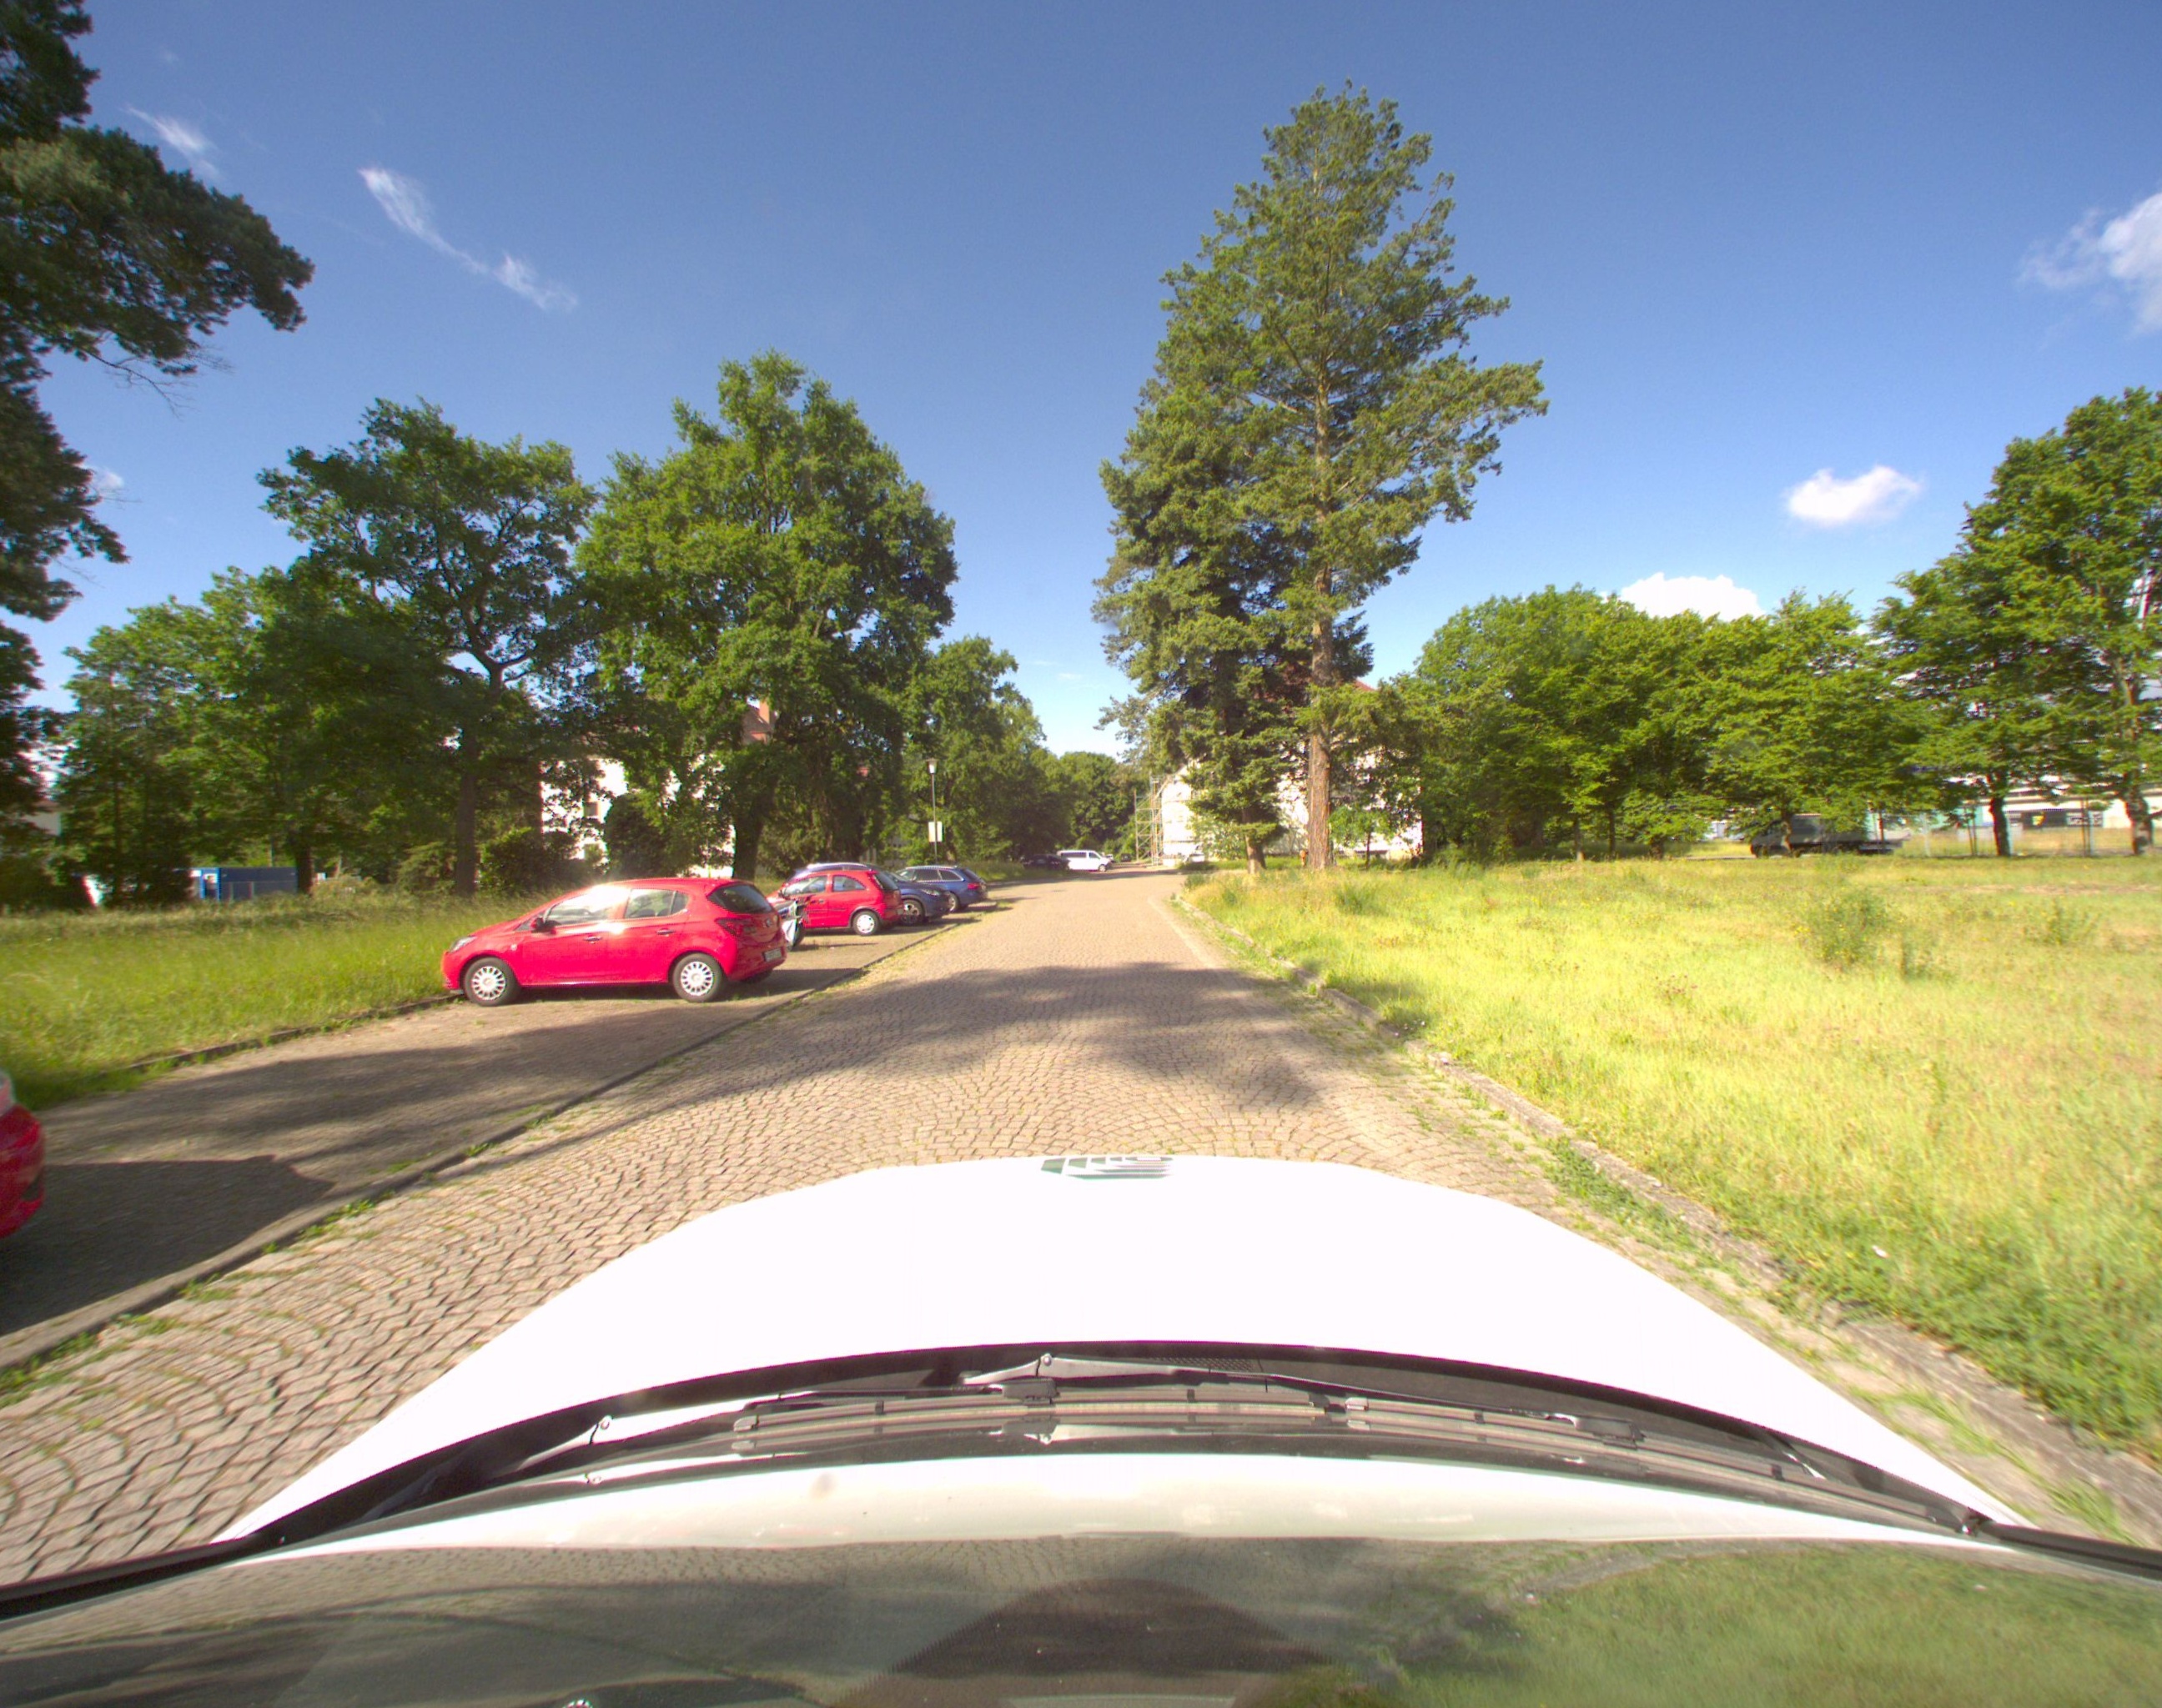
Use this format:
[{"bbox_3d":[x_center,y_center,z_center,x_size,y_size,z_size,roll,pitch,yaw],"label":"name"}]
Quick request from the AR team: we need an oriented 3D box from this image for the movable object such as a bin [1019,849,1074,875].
[{"bbox_3d":[-2.576,0.611,61.295,3.535,1.744,2.035,-3,0,20],"label":"movable object such as a bin"}]

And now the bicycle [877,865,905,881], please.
[{"bbox_3d":[-13.780,1.364,58.946,1.918,1.103,0.567,-2,1,-18],"label":"bicycle"}]

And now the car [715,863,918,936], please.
[{"bbox_3d":[-5.898,0.998,18.474,3.907,1.433,1.843,-2,0,3],"label":"car"}]

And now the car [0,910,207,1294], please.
[{"bbox_3d":[-6.201,1.027,2.990,3.910,1.449,1.866,-1,0,0],"label":"car"}]

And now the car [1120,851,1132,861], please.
[{"bbox_3d":[7.741,0.296,140.533,1.964,1.668,4.087,-3,0,1],"label":"car"}]

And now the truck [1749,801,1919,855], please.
[{"bbox_3d":[37.186,-1.174,40.601,2.225,2.424,6.887,-1,0,1],"label":"truck"}]

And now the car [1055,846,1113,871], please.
[{"bbox_3d":[0.303,0.406,74.339,5.216,2.016,1.950,-2,0,1],"label":"car"}]

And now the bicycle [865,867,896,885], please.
[{"bbox_3d":[-13.403,1.450,54.396,1.921,1.102,0.566,-3,2,-23],"label":"bicycle"}]

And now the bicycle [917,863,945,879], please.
[{"bbox_3d":[-11.047,1.237,60.077,1.919,1.058,0.473,-4,0,-20],"label":"bicycle"}]

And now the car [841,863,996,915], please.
[{"bbox_3d":[-5.027,1.067,25.540,4.340,1.445,1.923,-2,0,4],"label":"car"}]

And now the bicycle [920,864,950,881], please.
[{"bbox_3d":[-9.977,1.258,55.655,1.920,1.058,0.472,-4,0,-21],"label":"bicycle"}]

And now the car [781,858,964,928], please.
[{"bbox_3d":[-5.238,0.961,20.859,4.120,1.579,1.885,-2,0,1],"label":"car"}]

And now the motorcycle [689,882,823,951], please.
[{"bbox_3d":[-6.006,1.149,15.081,2.233,1.161,0.577,-2,0,2],"label":"motorcycle"}]

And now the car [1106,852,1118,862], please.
[{"bbox_3d":[5.340,0.455,140.283,1.805,1.579,4.136,-3,0,1],"label":"car"}]

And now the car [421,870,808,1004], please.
[{"bbox_3d":[-5.836,1.002,10.582,3.910,1.461,1.842,-1,0,0],"label":"car"}]
